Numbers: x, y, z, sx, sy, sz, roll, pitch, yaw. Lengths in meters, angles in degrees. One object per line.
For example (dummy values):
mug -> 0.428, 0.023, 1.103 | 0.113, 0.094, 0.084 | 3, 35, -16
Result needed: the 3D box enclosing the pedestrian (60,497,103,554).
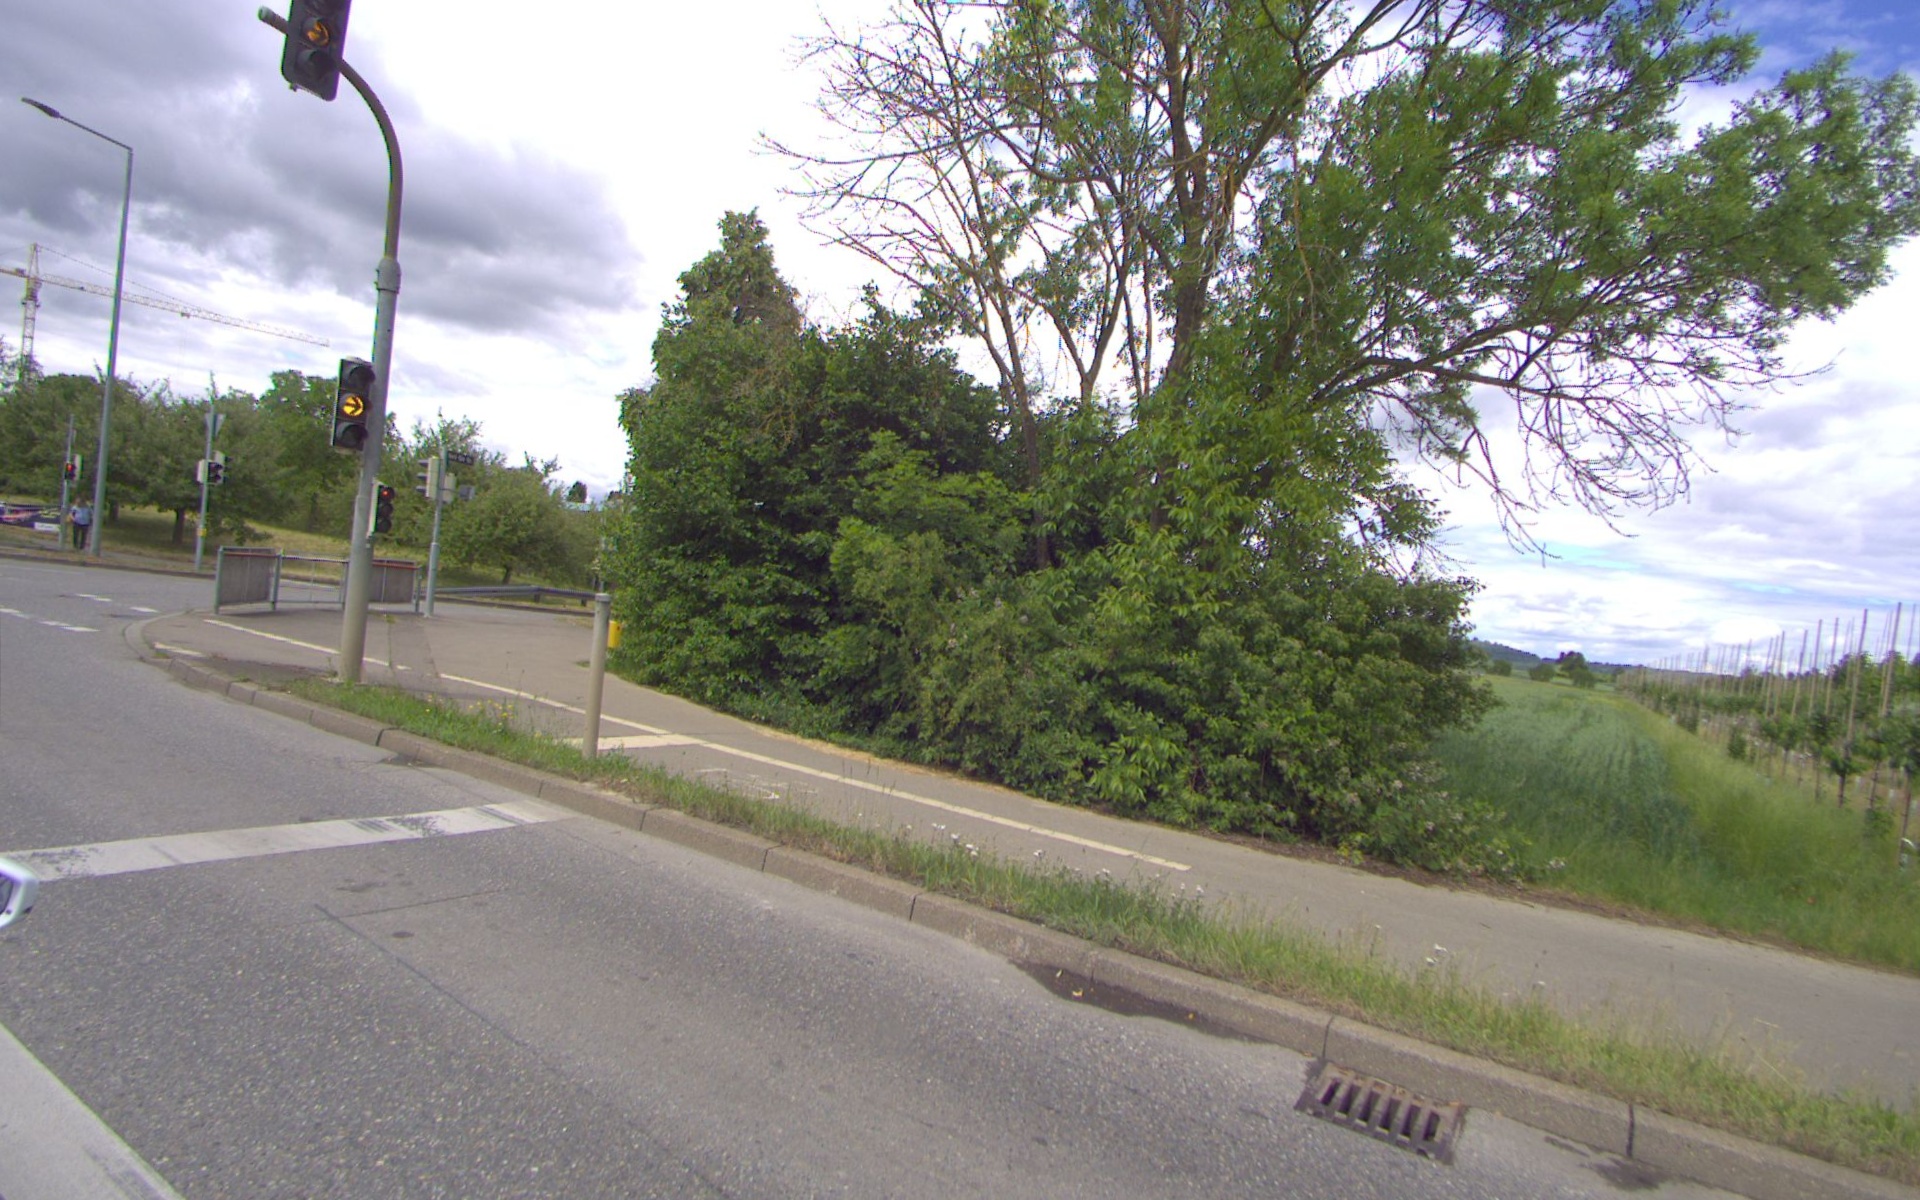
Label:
pedestrian -> -29.941, -2.538, 34.285 | 1.027, 1.813, 0.719 | 6, -1, 34
